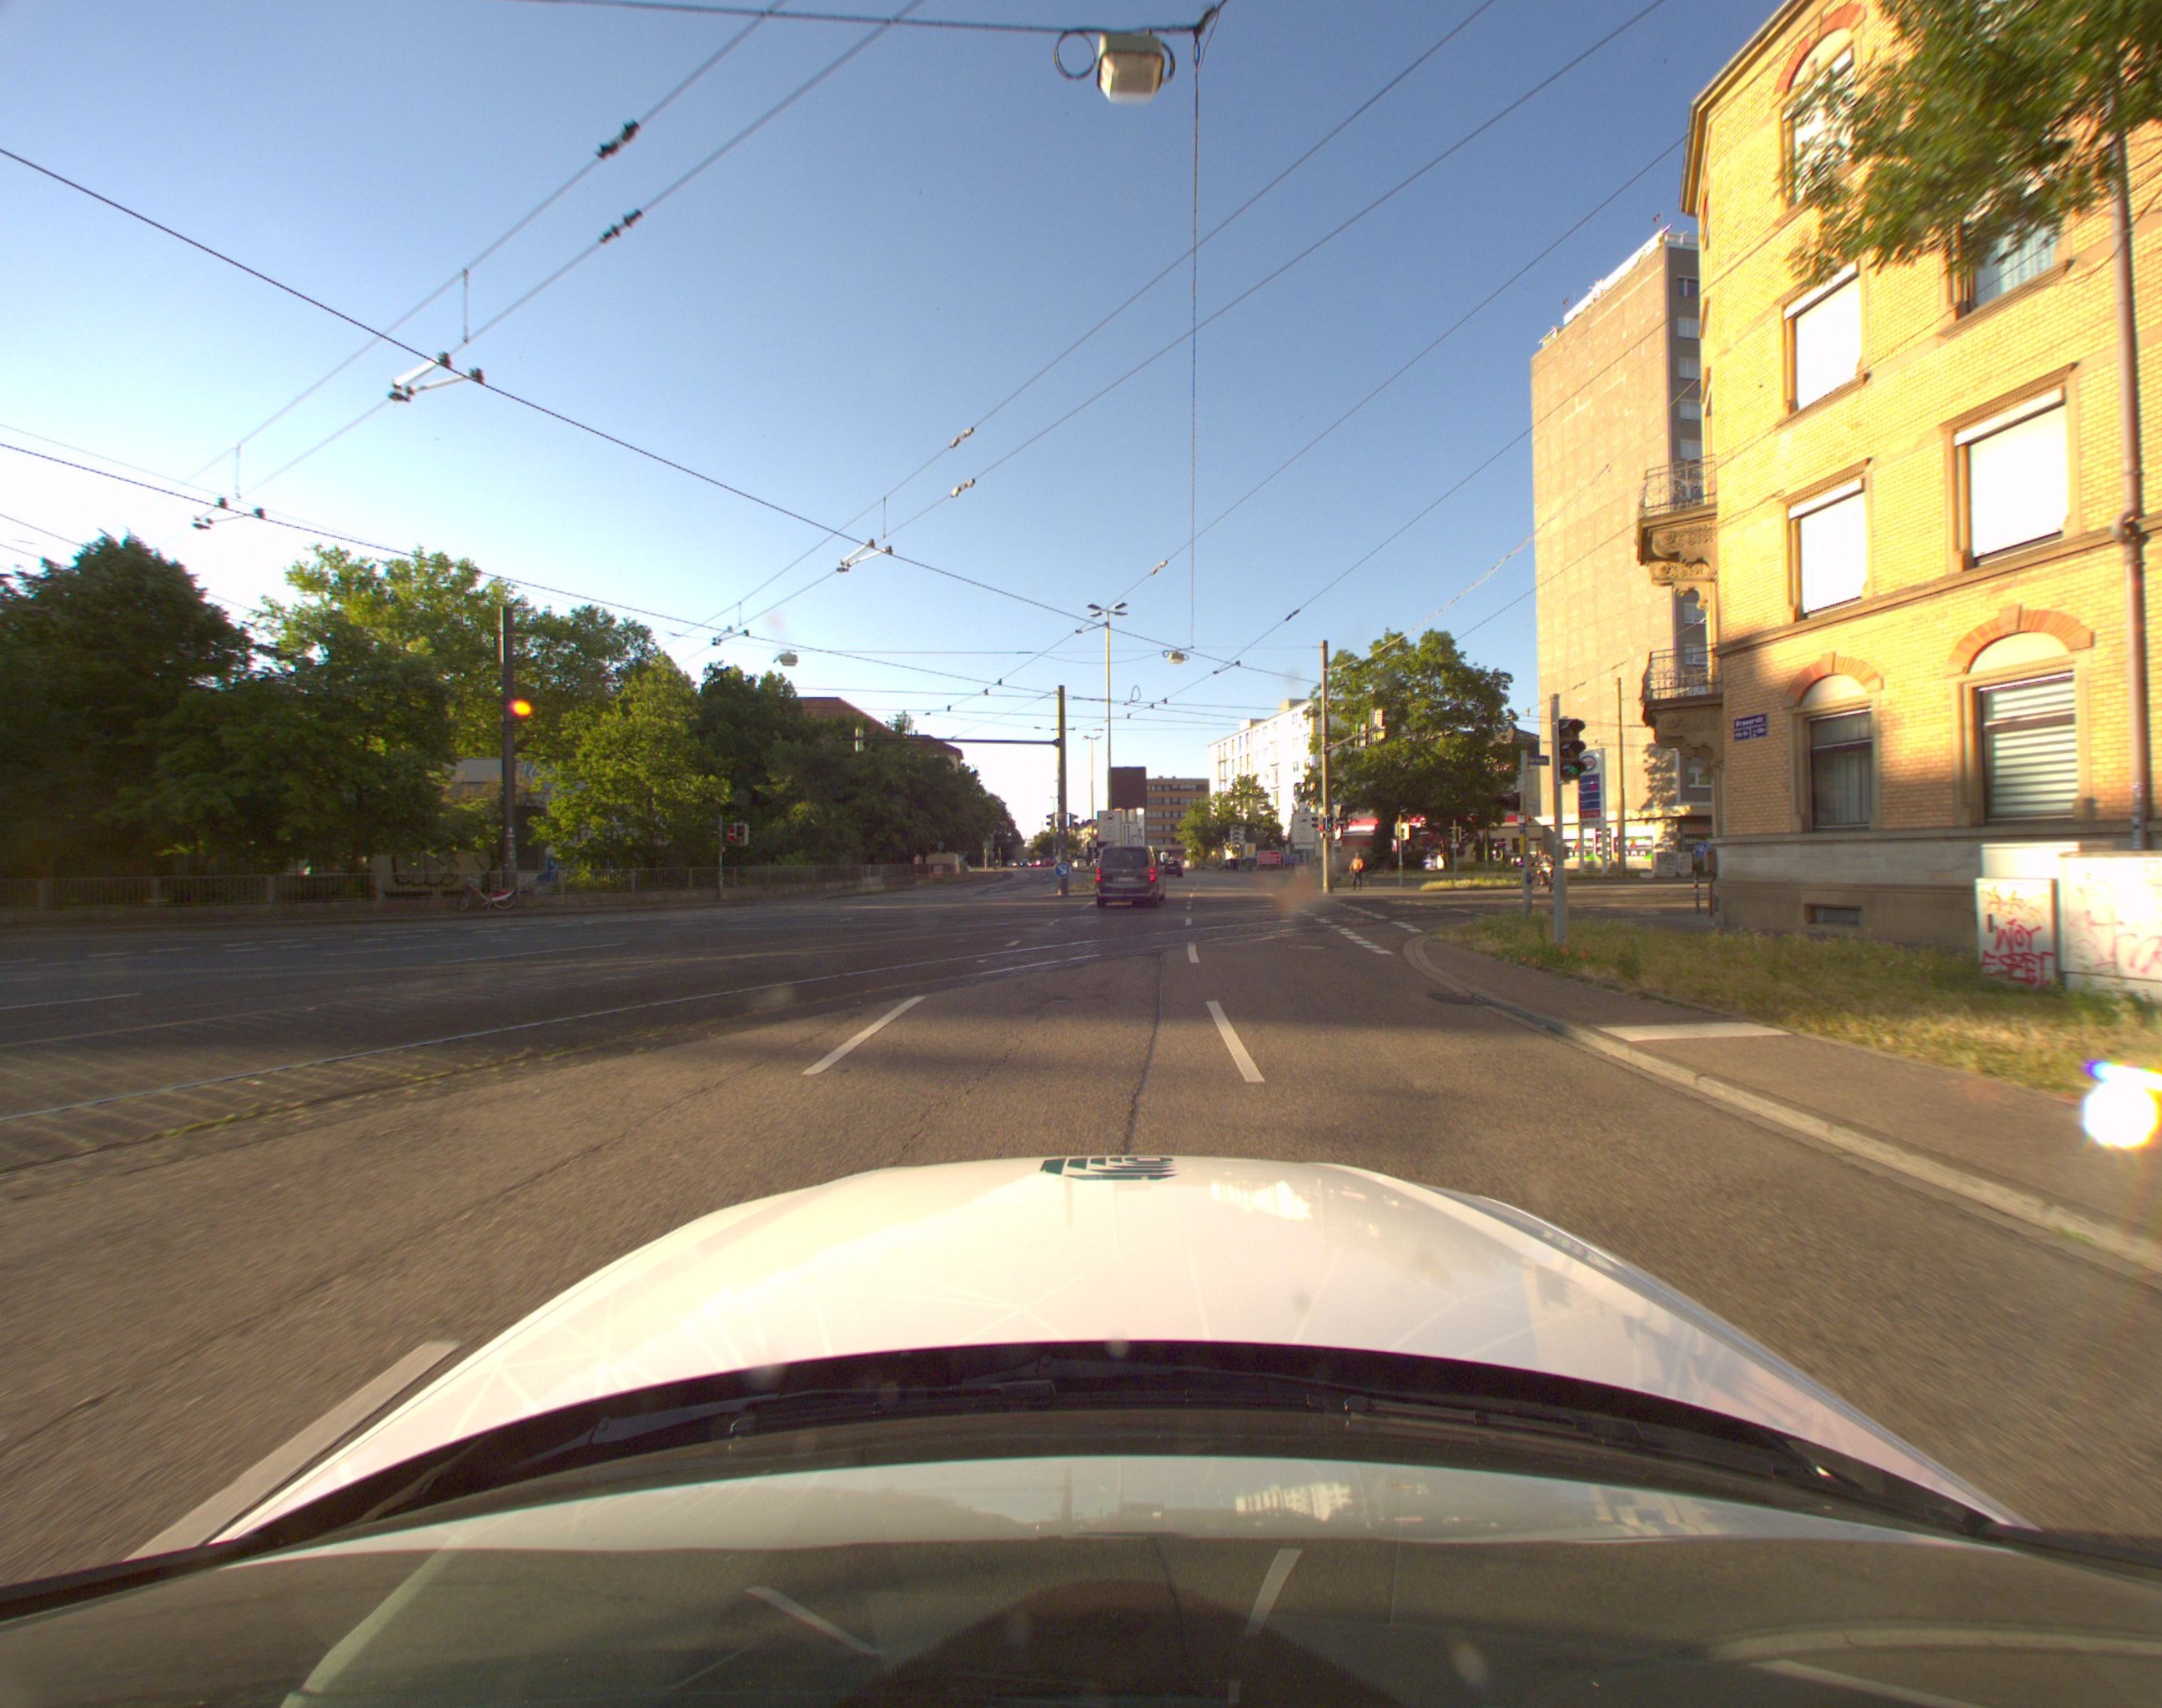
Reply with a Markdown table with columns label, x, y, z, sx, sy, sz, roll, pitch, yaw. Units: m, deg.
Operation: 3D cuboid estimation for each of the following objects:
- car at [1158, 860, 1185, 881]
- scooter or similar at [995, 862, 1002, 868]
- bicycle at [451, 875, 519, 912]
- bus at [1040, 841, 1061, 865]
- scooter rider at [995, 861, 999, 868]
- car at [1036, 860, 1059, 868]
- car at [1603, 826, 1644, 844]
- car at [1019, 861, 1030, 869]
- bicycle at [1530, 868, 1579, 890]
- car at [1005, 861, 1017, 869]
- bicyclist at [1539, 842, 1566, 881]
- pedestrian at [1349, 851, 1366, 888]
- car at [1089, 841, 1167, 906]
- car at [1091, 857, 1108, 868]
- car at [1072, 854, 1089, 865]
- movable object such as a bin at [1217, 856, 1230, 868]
| label | x | y | z | sx | sy | sz | roll | pitch | yaw |
| --- | --- | --- | --- | --- | --- | --- | --- | --- | --- |
| car | 7.160 | 1.284 | 65.007 | 1.839 | 1.544 | 3.633 | -1 | 0 | 2 |
| scooter or similar | -13.355 | 1.781 | 132.119 | 1.101 | 0.976 | 0.556 | 1 | -1 | -15 |
| bicycle | -19.585 | 1.273 | 26.792 | 0.552 | 1.142 | 1.732 | -1 | 0 | 43 |
| bus | -6.328 | -0.169 | 167.374 | 3.288 | 4.617 | 9.971 | 1 | -1 | -8 |
| scooter rider | -13.576 | 1.669 | 132.066 | 0.510 | 1.036 | 0.444 | 1 | -1 | -16 |
| car | -6.335 | 1.878 | 154.478 | 4.004 | 1.595 | 1.985 | -1 | 0 | -23 |
| car | 65.826 | -2.325 | 98.902 | 1.994 | 2.014 | 3.985 | -1 | 0 | -10 |
| car | -11.957 | 2.310 | 172.663 | 1.986 | 1.595 | 4.002 | -1 | 0 | 2 |
| bicycle | 19.392 | 1.021 | 33.382 | 1.812 | 0.829 | 0.619 | -1 | -1 | -15 |
| car | -14.748 | 2.300 | 172.190 | 1.986 | 1.595 | 4.002 | -1 | 0 | 2 |
| bicyclist | 19.340 | 0.311 | 33.411 | 0.695 | 1.583 | 0.634 | -1 | -1 | -14 |
| pedestrian | 12.401 | 0.677 | 36.551 | 0.549 | 1.629 | 0.700 | -1 | 0 | 4 |
| car | 1.598 | 0.593 | 26.086 | 1.981 | 1.901 | 4.311 | 0 | -1 | 10 |
| car | 2.821 | 1.286 | 126.681 | 1.992 | 1.656 | 4.287 | -1 | 0 | -8 |
| car | -0.129 | 0.812 | 125.487 | 1.992 | 1.656 | 4.287 | -1 | 0 | -8 |
| movable object such as a bin | 17.722 | 1.013 | 101.127 | 1.456 | 1.386 | 1.548 | -1 | 0 | 3 |
